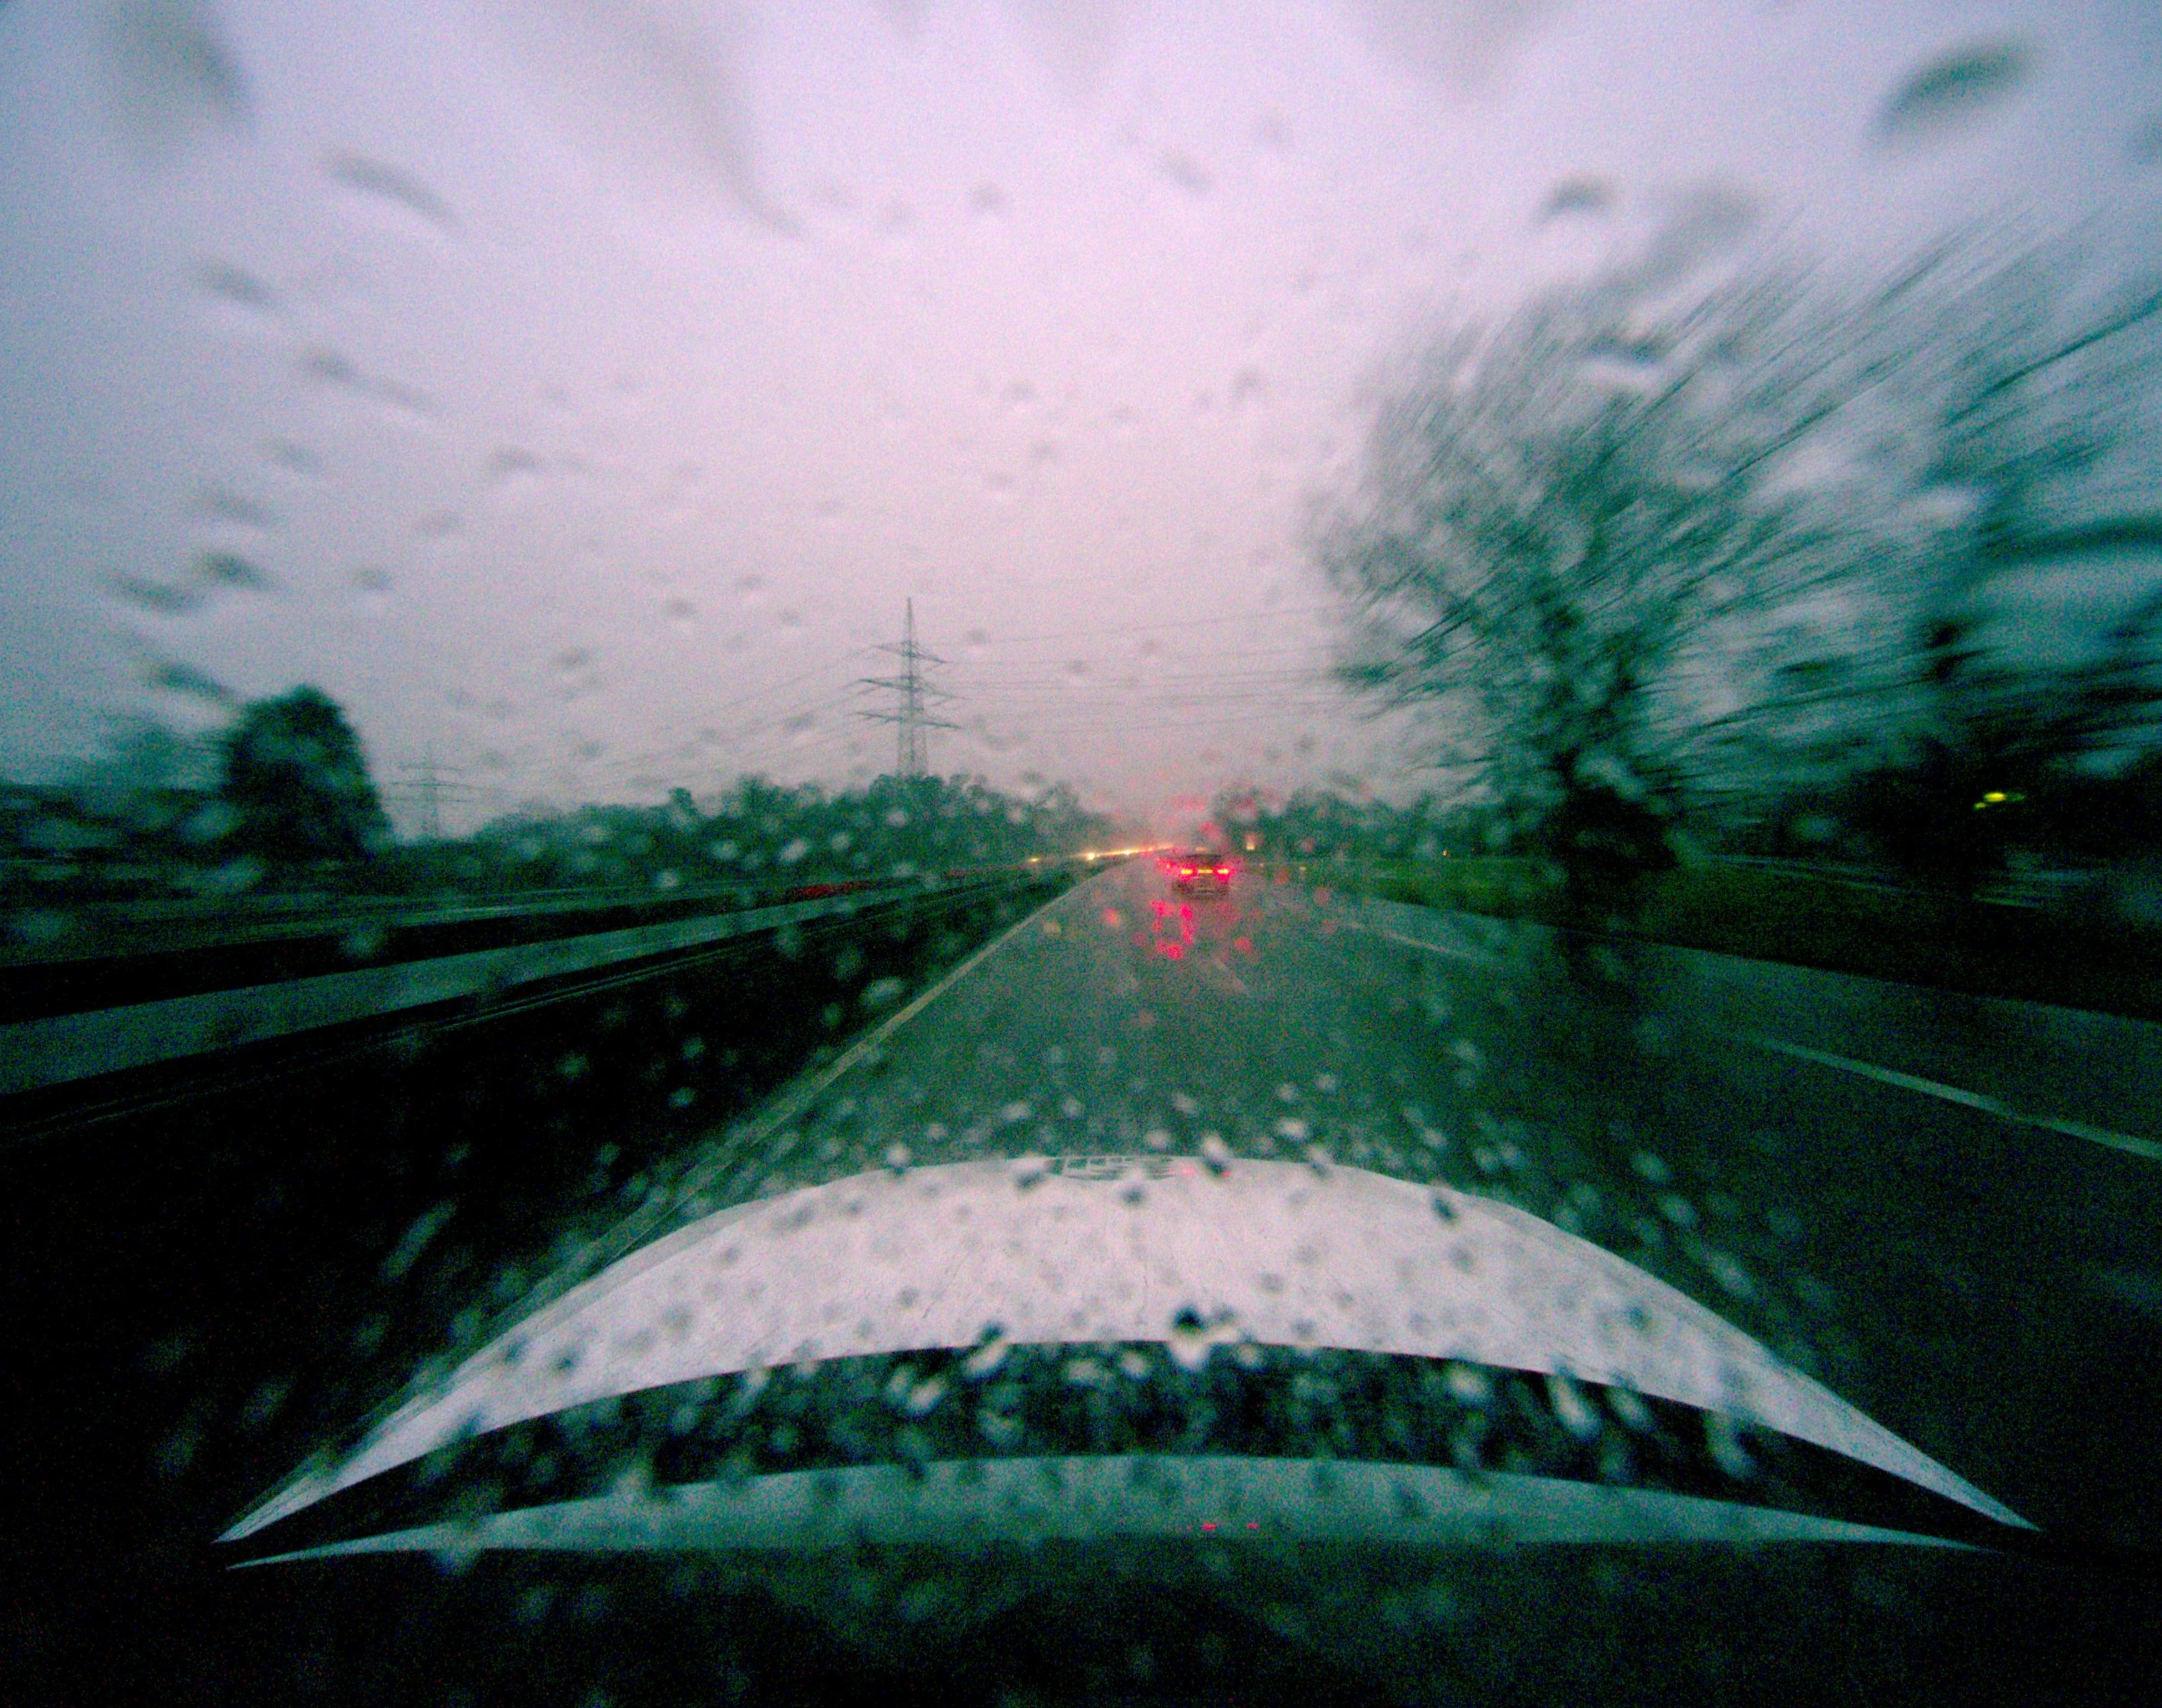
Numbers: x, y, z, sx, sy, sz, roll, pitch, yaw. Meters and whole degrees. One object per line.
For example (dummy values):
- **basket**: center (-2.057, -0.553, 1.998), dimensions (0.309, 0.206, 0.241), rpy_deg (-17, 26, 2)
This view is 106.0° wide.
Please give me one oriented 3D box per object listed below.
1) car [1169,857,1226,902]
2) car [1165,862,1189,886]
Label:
- **car**: center (4.345, 0.922, 30.808), dimensions (1.672, 1.509, 3.810), rpy_deg (-1, 0, 1)
- **car**: center (6.568, 1.324, 55.560), dimensions (1.586, 1.490, 3.602), rpy_deg (-1, 0, 8)
